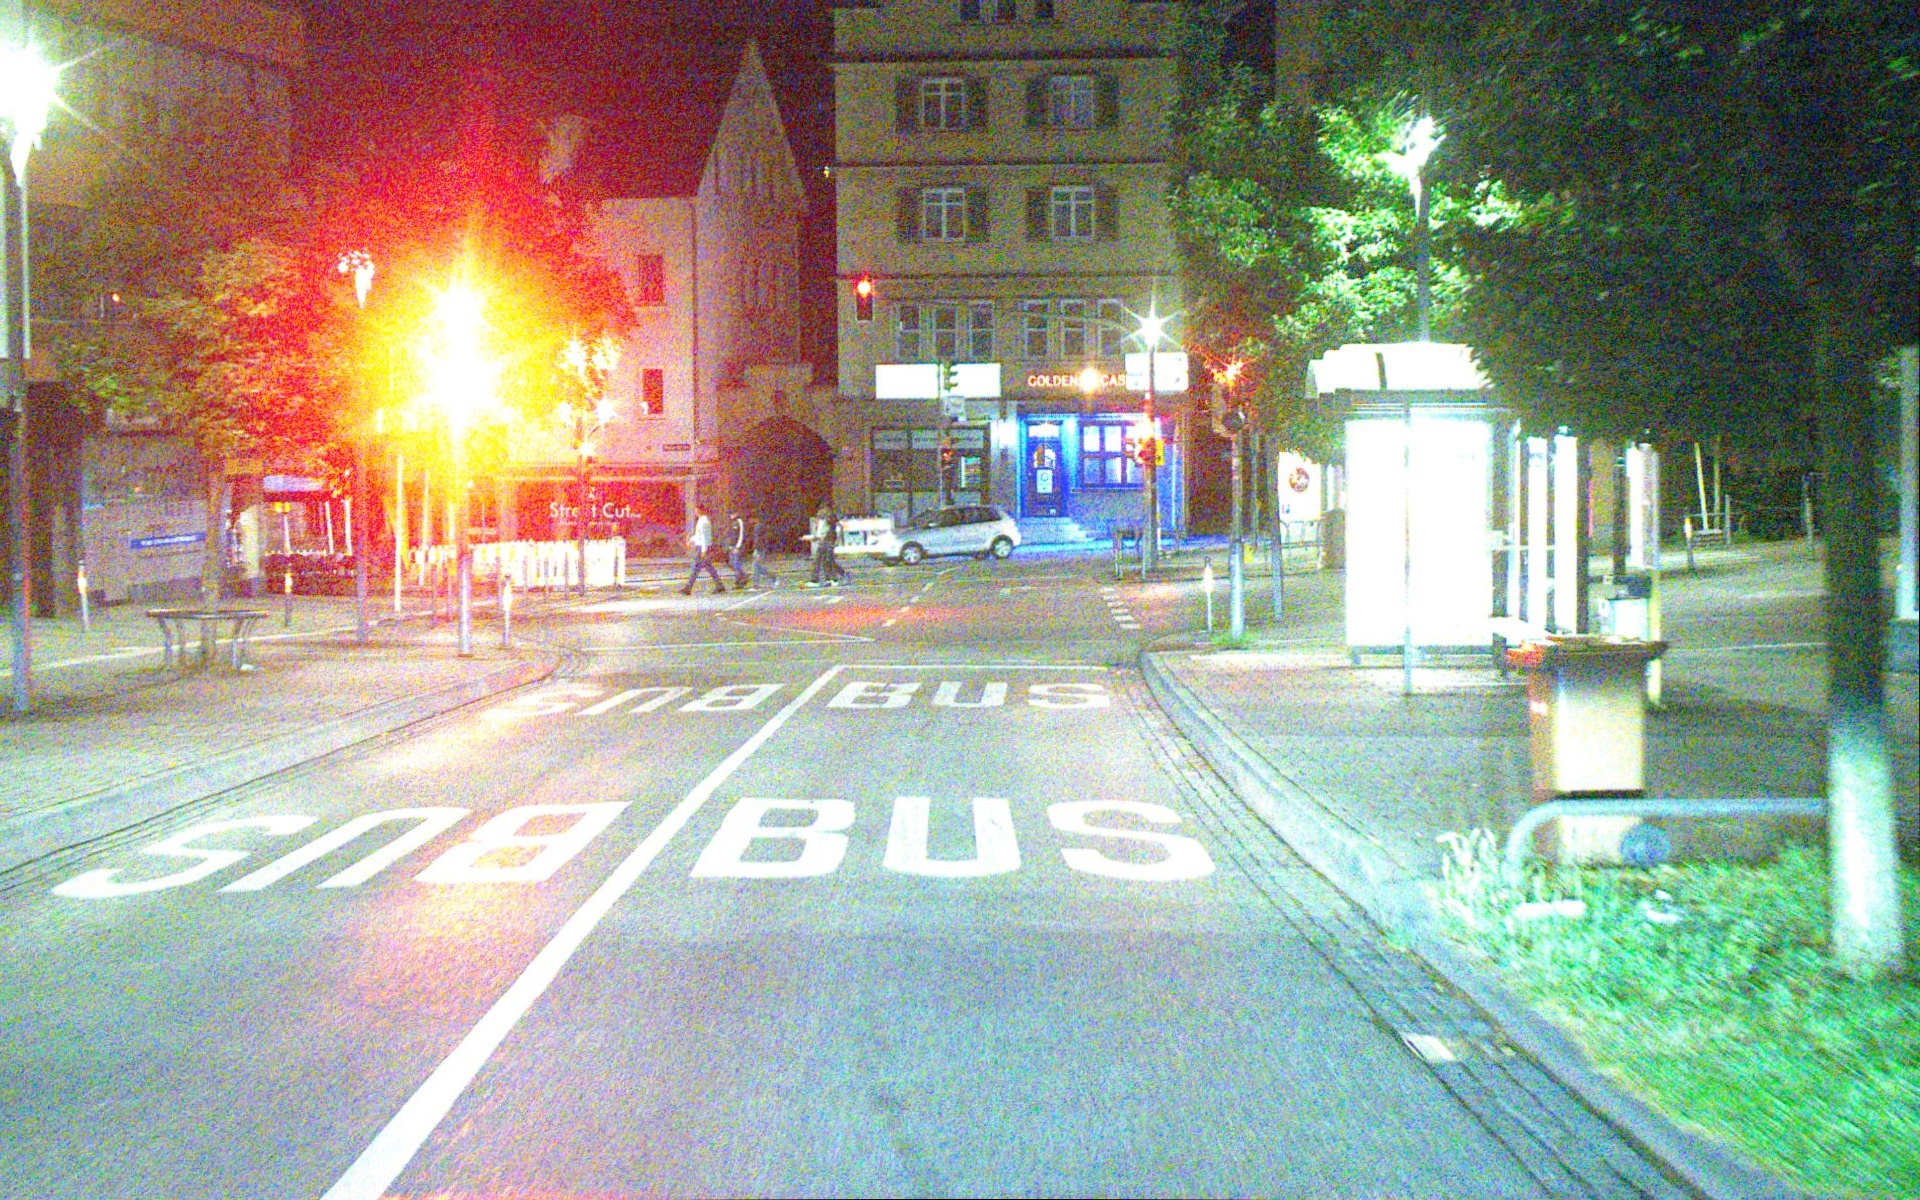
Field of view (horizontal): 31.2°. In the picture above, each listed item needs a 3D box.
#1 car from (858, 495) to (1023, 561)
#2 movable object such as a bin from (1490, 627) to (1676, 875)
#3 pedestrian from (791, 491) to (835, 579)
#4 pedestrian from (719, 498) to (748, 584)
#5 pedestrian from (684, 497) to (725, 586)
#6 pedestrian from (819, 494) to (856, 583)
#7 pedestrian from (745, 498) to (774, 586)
[{"bbox_3d":[-0.492,-1.815,87.273,3.751,1.612,1.835,0,0,-23],"label":"car"},{"bbox_3d":[2.424,0.579,13.413,0.524,0.934,0.629,0,0,-10],"label":"movable object such as a bin"},{"bbox_3d":[-3.005,-1.325,70.412,0.568,1.789,0.718,1,0,-39],"label":"pedestrian"},{"bbox_3d":[-4.775,-1.234,72.514,0.567,1.789,0.718,0,0,-1],"label":"pedestrian"},{"bbox_3d":[-5.161,-1.178,69.417,0.716,1.789,0.569,0,0,8],"label":"pedestrian"},{"bbox_3d":[-2.489,-1.252,69.875,0.734,1.789,0.718,0,0,-3],"label":"pedestrian"},{"bbox_3d":[-4.105,-1.192,70.435,0.567,1.789,0.718,0,0,-4],"label":"pedestrian"}]
